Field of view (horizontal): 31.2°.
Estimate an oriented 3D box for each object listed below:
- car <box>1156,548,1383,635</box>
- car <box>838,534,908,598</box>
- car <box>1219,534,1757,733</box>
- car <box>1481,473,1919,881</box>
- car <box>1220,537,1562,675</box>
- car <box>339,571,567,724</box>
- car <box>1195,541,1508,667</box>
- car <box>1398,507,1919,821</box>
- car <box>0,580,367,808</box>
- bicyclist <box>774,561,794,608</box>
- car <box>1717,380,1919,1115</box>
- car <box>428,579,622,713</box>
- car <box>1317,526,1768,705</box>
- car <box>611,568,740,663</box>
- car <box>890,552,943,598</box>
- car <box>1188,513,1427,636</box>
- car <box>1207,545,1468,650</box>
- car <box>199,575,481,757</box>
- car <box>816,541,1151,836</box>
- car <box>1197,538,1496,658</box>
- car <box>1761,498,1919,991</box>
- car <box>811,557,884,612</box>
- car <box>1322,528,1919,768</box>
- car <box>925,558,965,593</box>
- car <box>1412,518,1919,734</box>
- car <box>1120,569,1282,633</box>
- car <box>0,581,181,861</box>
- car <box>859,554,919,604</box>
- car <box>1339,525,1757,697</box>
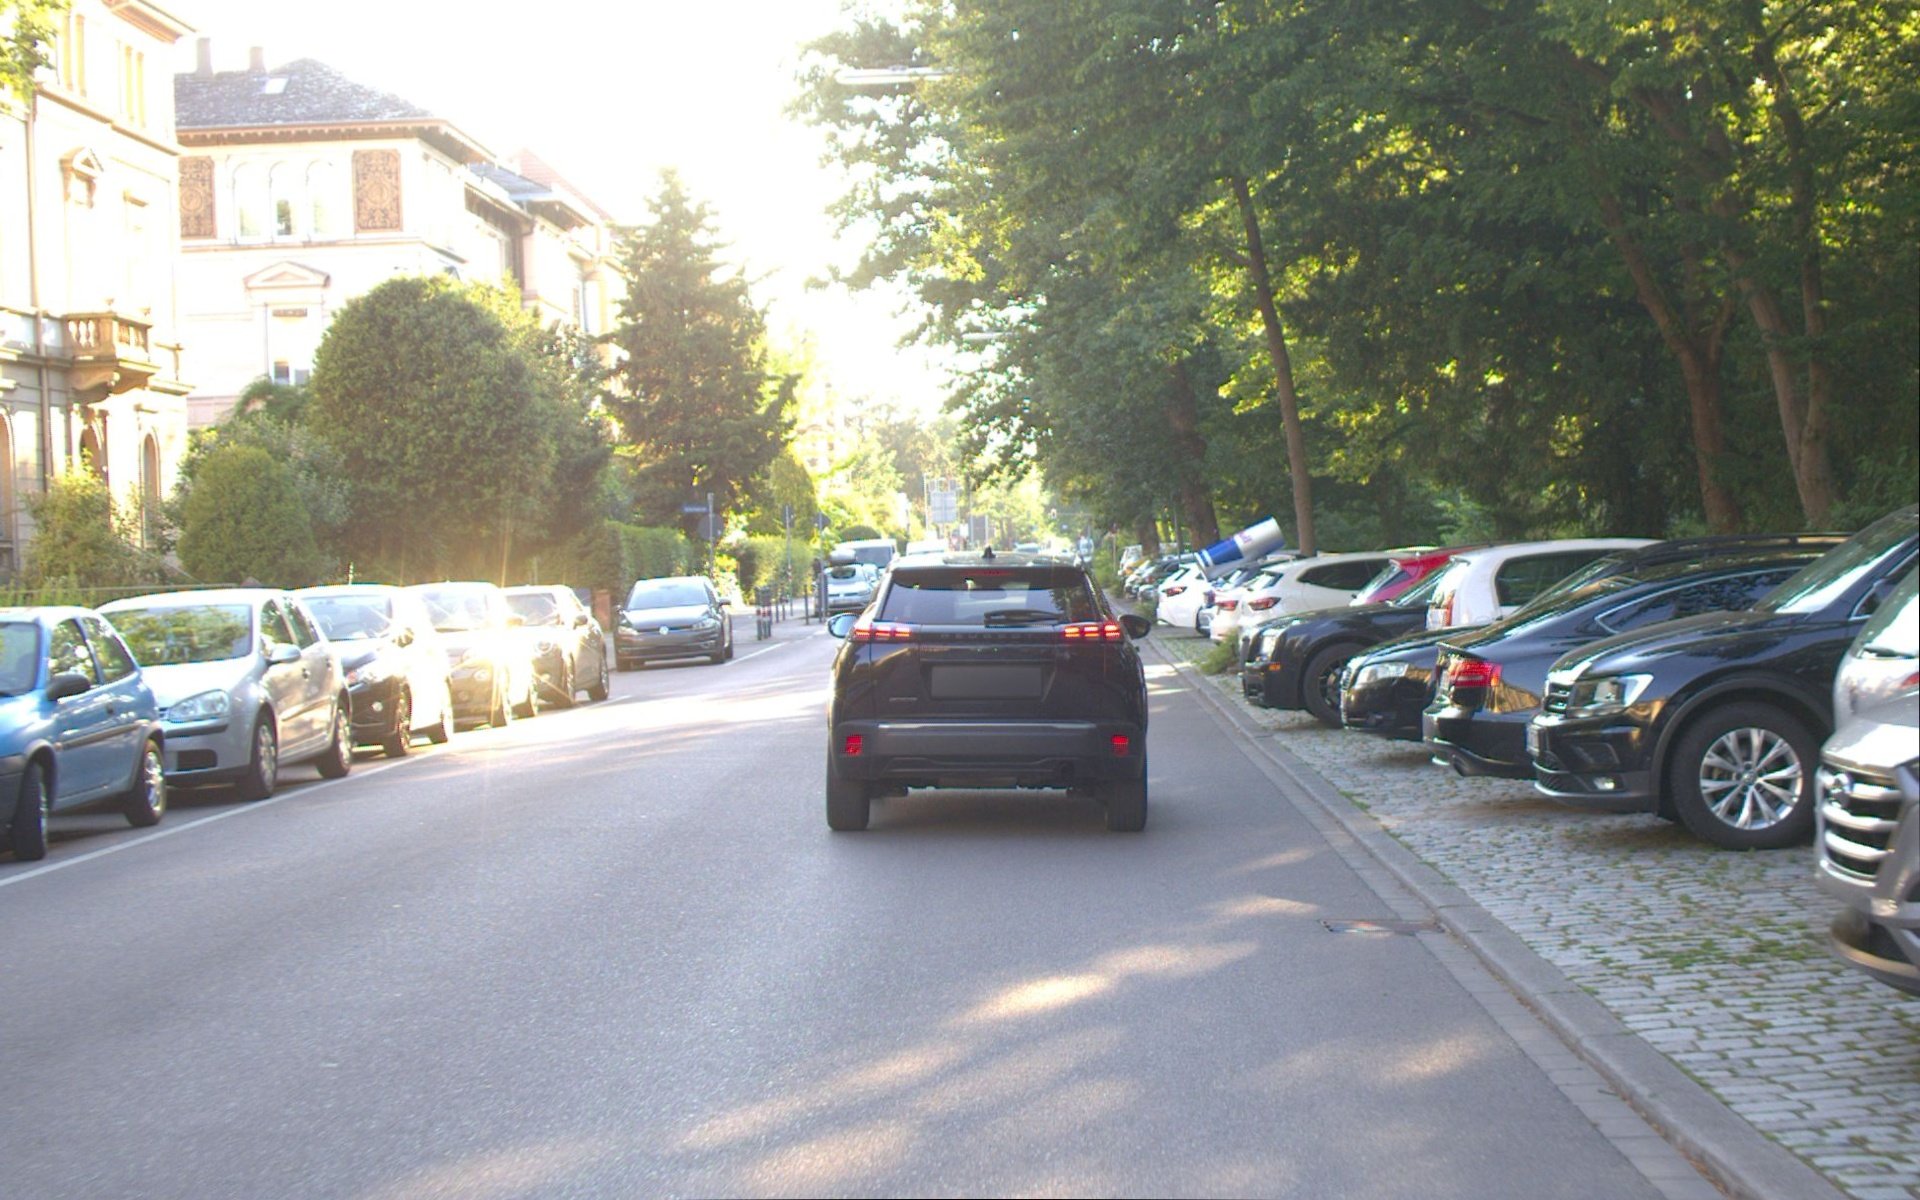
[{"bbox_3d":[5.745,-0.161,64.124,3.986,1.520,1.758,-1,0,-3],"label":"car"},{"bbox_3d":[-2.832,-1.104,113.047,1.994,2.007,4.000,-1,0,3],"label":"car"},{"bbox_3d":[4.458,0.277,29.555,4.242,1.444,2.021,-3,0,0],"label":"car"},{"bbox_3d":[4.837,0.282,16.775,4.245,1.783,1.884,-3,0,2],"label":"car"},{"bbox_3d":[5.197,0.070,41.784,3.807,1.444,1.826,-3,0,-2],"label":"car"},{"bbox_3d":[-5.264,0.465,36.139,1.614,1.461,4.036,-2,0,2],"label":"car"},{"bbox_3d":[5.321,0.045,47.055,3.986,1.619,1.758,-1,0,-3],"label":"car"},{"bbox_3d":[4.601,0.308,19.441,3.987,1.549,1.725,-3,0,2],"label":"car"},{"bbox_3d":[-5.537,0.616,24.875,1.614,1.461,4.036,-2,0,2],"label":"car"},{"bbox_3d":[-6.669,-0.584,130.418,0.693,1.786,0.773,-1,0,-1],"label":"bicyclist"},{"bbox_3d":[4.476,0.254,9.371,4.307,1.798,2.035,-3,0,1],"label":"car"},{"bbox_3d":[-5.115,0.511,40.838,1.614,1.461,4.036,-2,0,2],"label":"car"},{"bbox_3d":[5.418,0.142,32.323,3.807,1.444,1.877,-3,0,-2],"label":"car"},{"bbox_3d":[-4.693,0.232,57.051,1.752,1.409,3.764,-3,1,0],"label":"car"},{"bbox_3d":[-1.768,-1.034,140.684,1.993,1.809,4.000,-1,0,1],"label":"car"},{"bbox_3d":[6.174,-0.449,61.330,3.986,2.082,1.758,-1,0,-3],"label":"car"},{"bbox_3d":[6.168,-0.045,56.412,3.986,1.619,1.758,-1,0,-3],"label":"car"},{"bbox_3d":[-5.447,0.546,30.649,1.614,1.461,4.036,-2,0,2],"label":"car"},{"bbox_3d":[0.107,0.442,20.264,1.771,1.563,4.109,0,1,-1],"label":"car"},{"bbox_3d":[5.511,-0.034,49.321,3.986,1.619,1.758,-1,0,-3],"label":"car"},{"bbox_3d":[4.916,0.386,11.622,3.987,1.549,1.725,-2,0,2],"label":"car"},{"bbox_3d":[-3.328,-0.453,102.332,1.899,1.568,4.000,-1,0,1],"label":"car"},{"bbox_3d":[4.698,0.322,24.280,4.158,1.444,1.730,-3,0,5],"label":"car"},{"bbox_3d":[-0.782,-1.284,182.004,1.993,1.809,4.000,-1,0,1],"label":"car"},{"bbox_3d":[5.508,0.192,26.758,3.808,1.444,1.826,-3,0,5],"label":"car"},{"bbox_3d":[6.044,0.022,86.574,3.987,1.520,1.758,-1,0,3],"label":"car"},{"bbox_3d":[-5.845,0.663,20.108,1.614,1.480,3.742,-2,0,1],"label":"car"},{"bbox_3d":[-2.580,-0.755,124.919,1.993,1.762,4.000,-1,0,1],"label":"car"},{"bbox_3d":[5.904,0.102,34.816,3.807,1.505,1.826,-3,0,-2],"label":"car"}]
